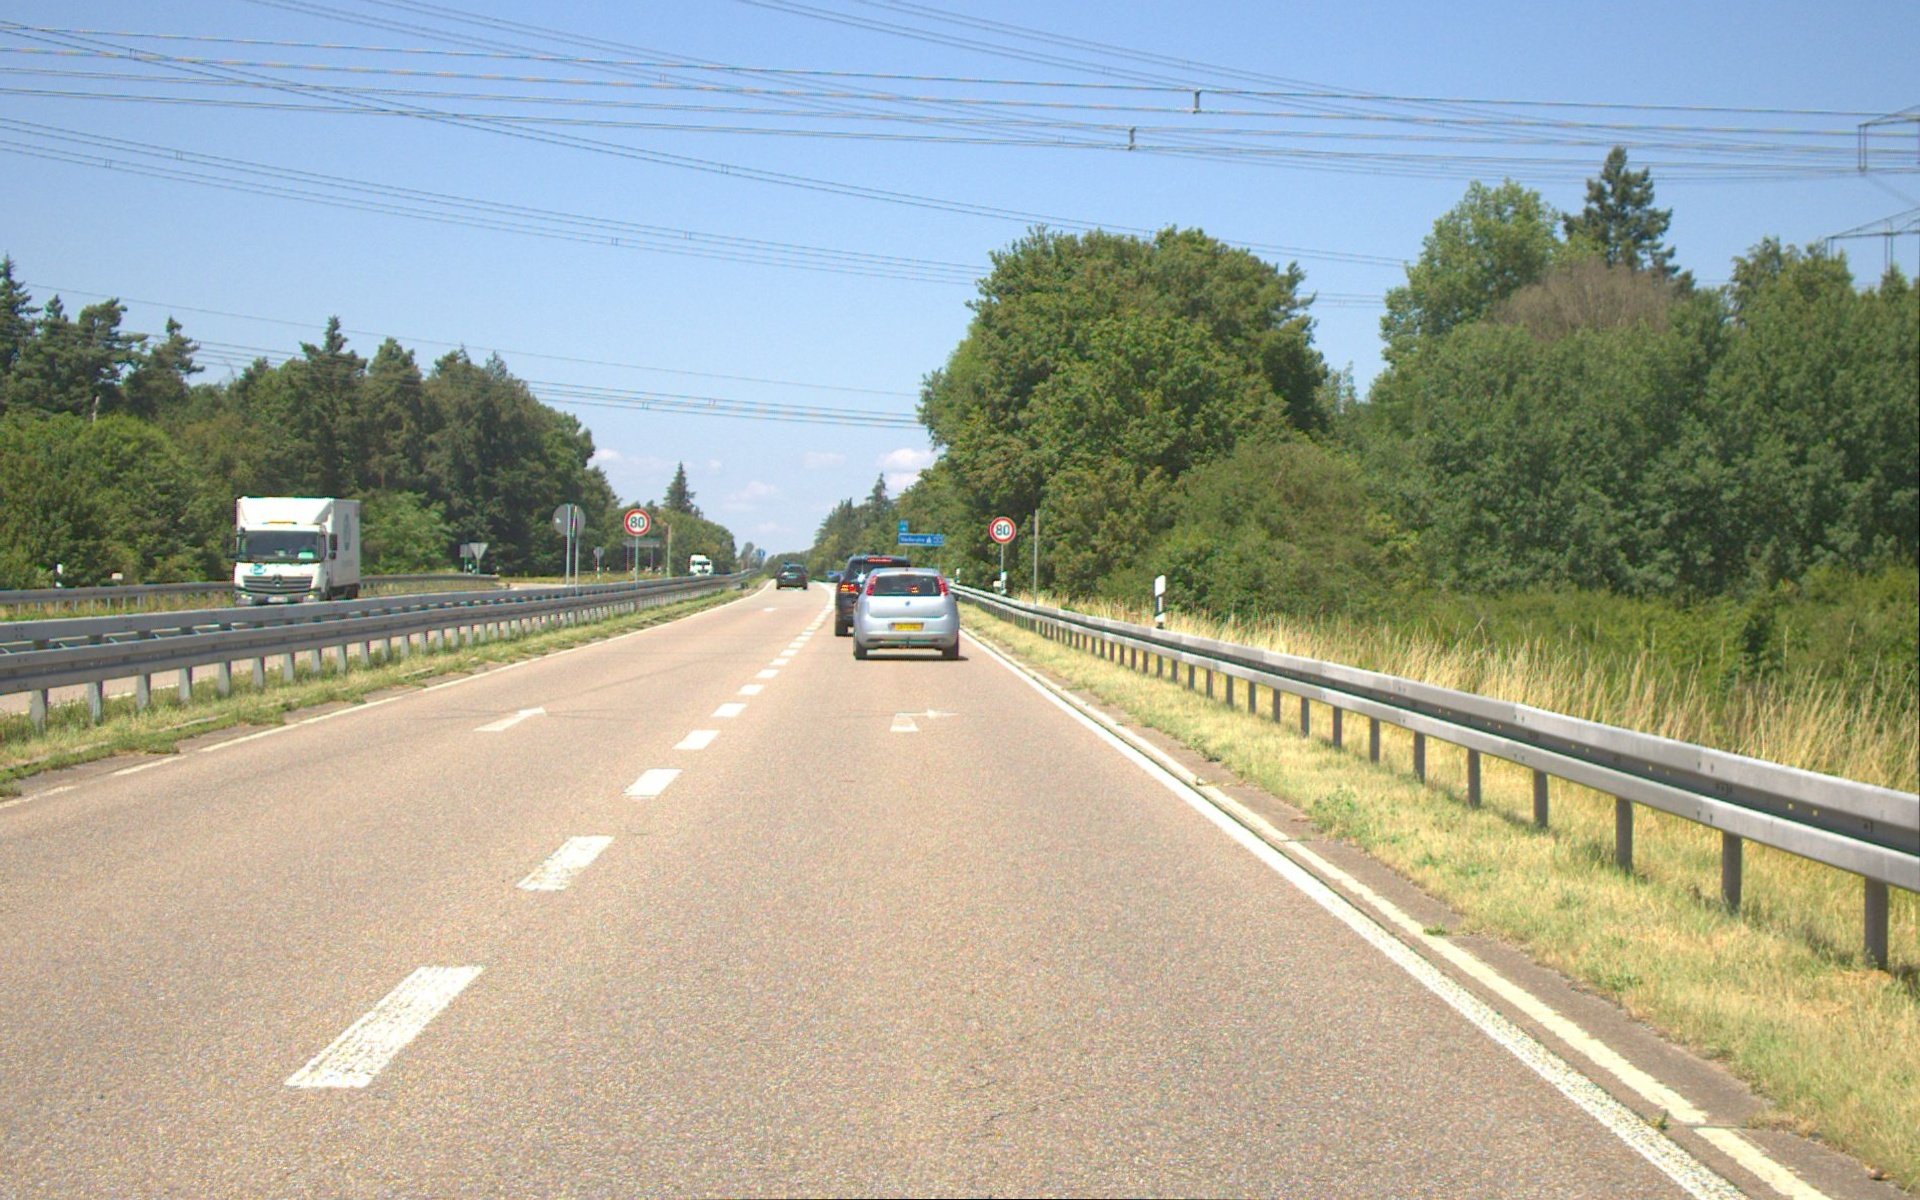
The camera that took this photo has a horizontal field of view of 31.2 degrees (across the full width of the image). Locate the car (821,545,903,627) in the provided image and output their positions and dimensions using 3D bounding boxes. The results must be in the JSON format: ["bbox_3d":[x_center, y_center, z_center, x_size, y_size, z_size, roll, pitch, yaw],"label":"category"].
[{"bbox_3d":[-2.137,-0.311,74.556,1.640,1.648,3.574,3,0,-3],"label":"car"}]

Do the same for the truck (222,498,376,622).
[{"bbox_3d":[-17.725,-1.068,92.643,2.718,3.182,8.406,0,1,-1],"label":"truck"}]

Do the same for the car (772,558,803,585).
[{"bbox_3d":[-9.962,-1.636,198.662,1.712,1.466,3.574,3,0,-2],"label":"car"}]

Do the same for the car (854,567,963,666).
[{"bbox_3d":[-0.848,0.247,55.485,1.640,1.463,3.419,3,0,-1],"label":"car"}]
